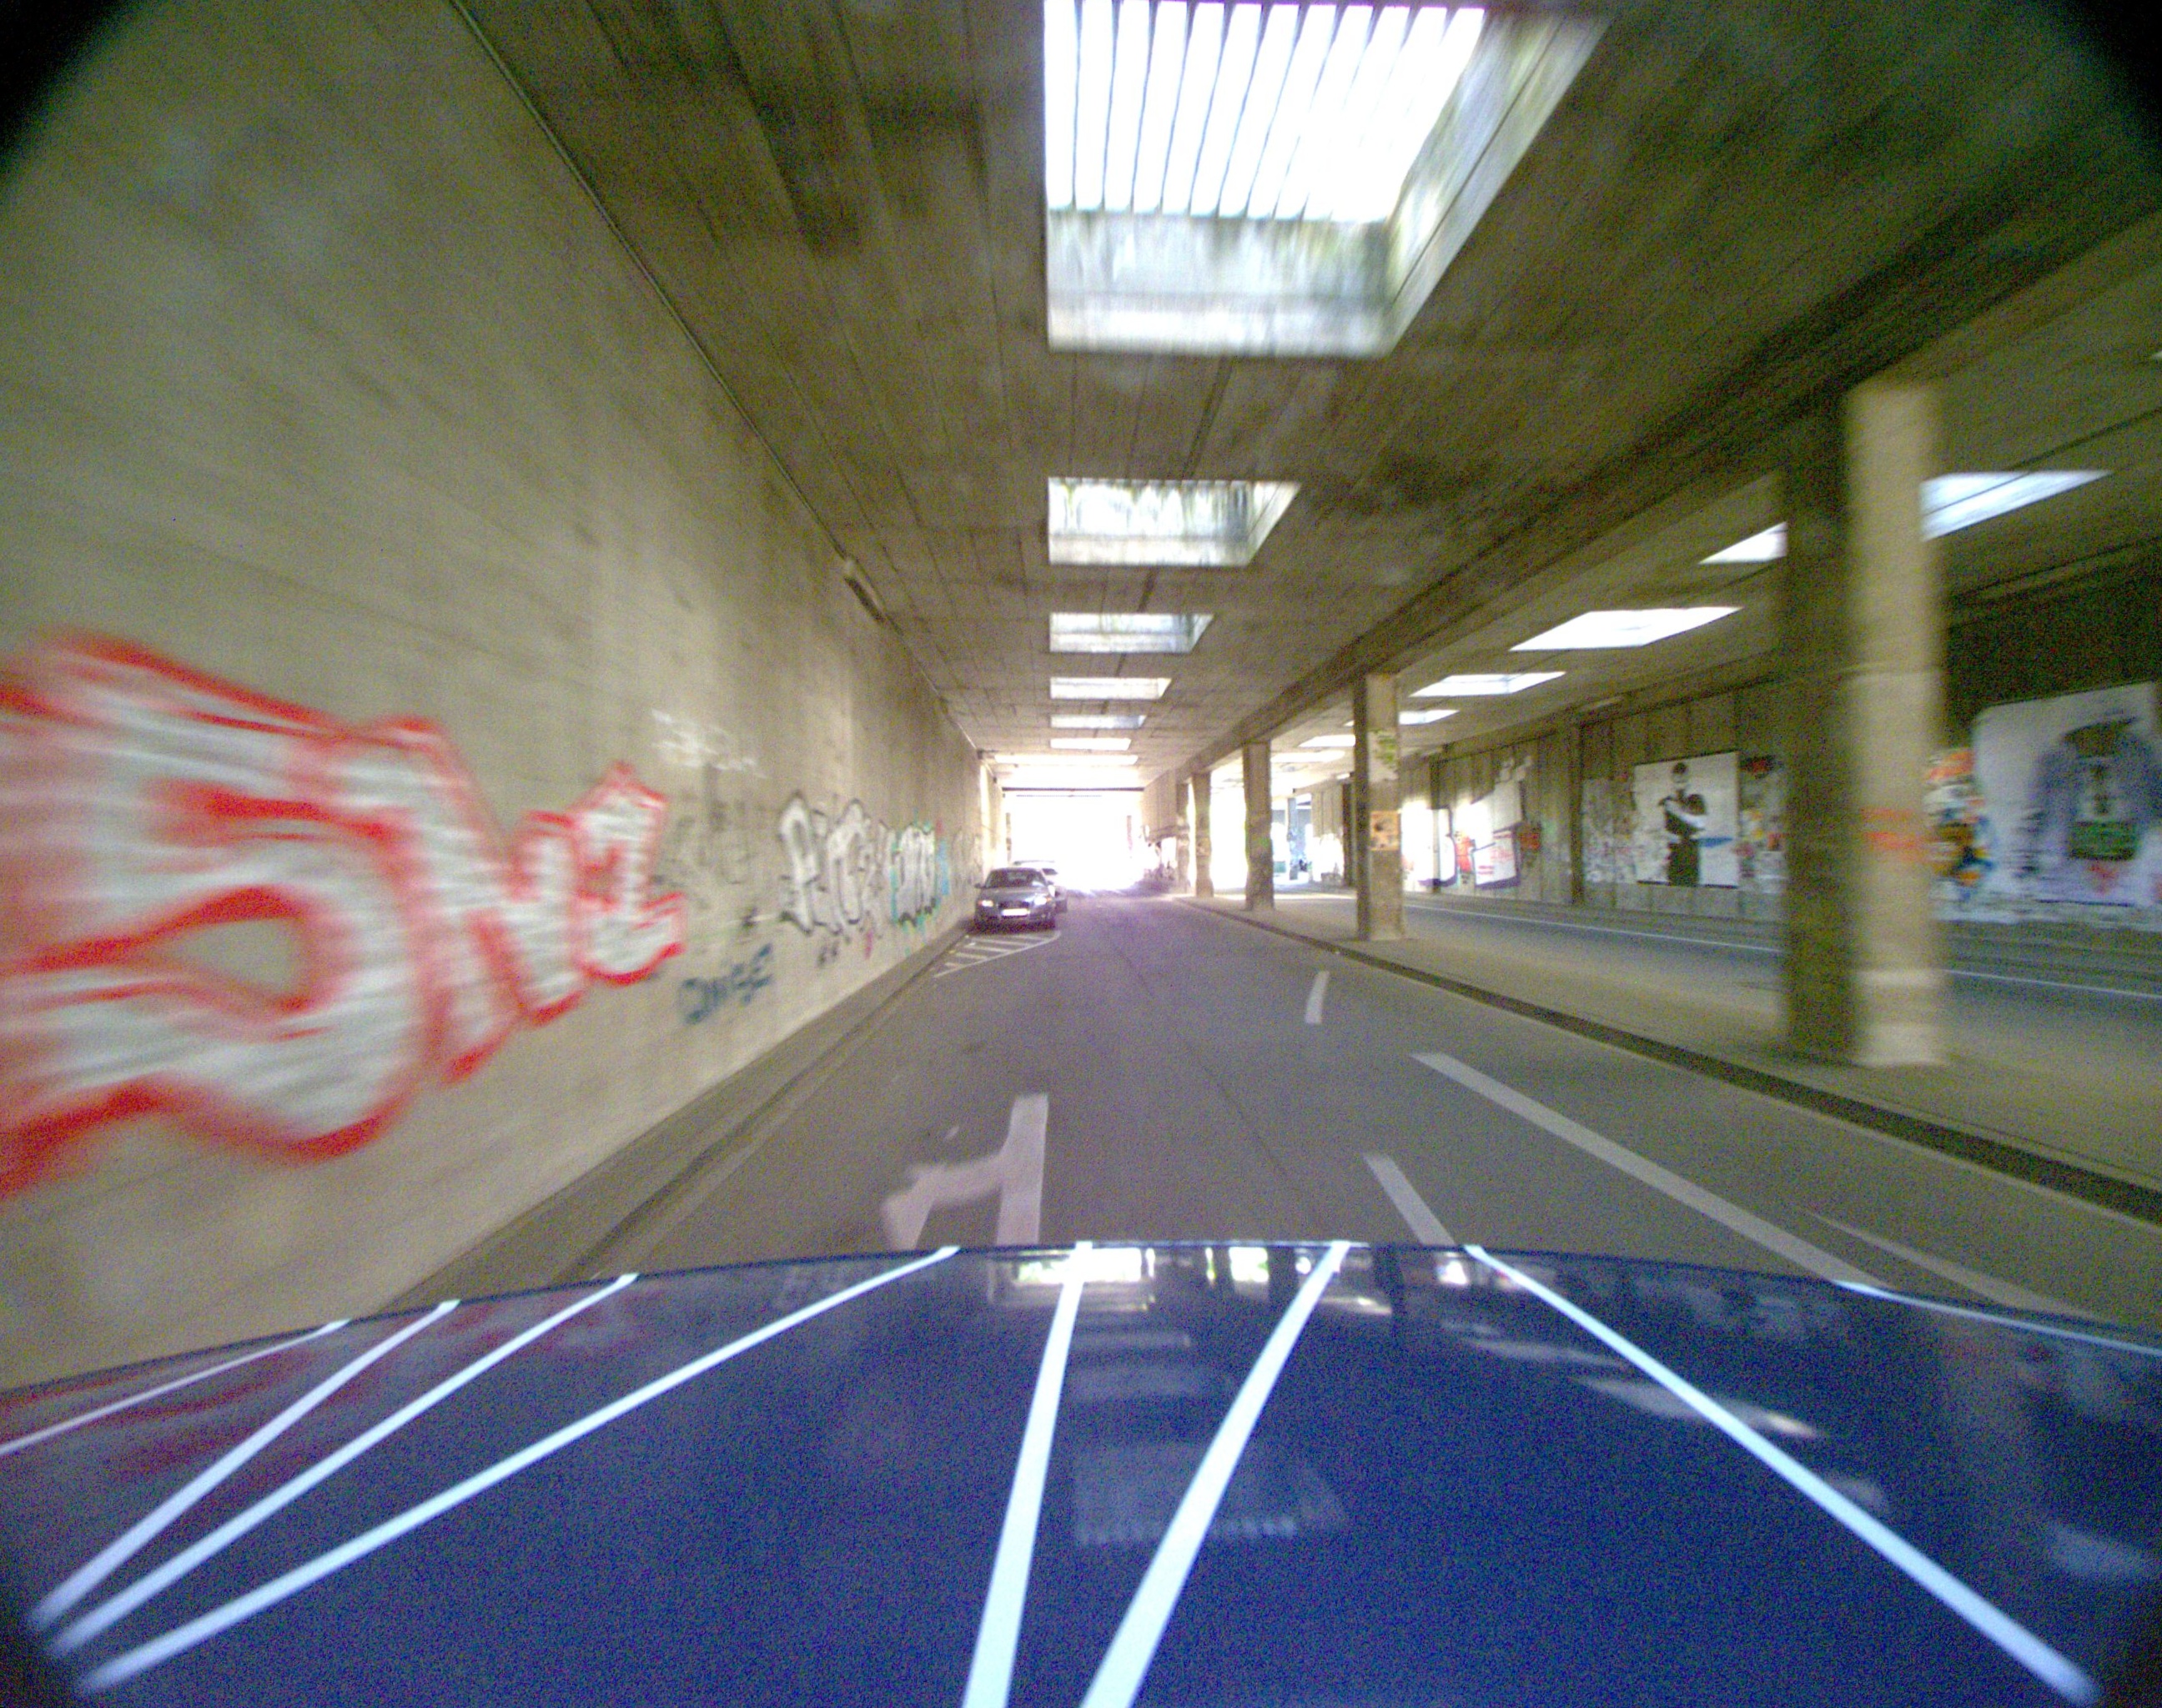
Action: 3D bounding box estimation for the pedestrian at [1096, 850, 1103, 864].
[{"bbox_3d":[2.095,0.376,87.080,0.632,1.567,0.532,-1,1,22],"label":"pedestrian"}]

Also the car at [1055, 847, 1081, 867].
[{"bbox_3d":[-1.761,0.326,97.478,2.221,2.437,5.088,-2,1,-14],"label":"car"}]

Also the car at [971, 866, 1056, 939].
[{"bbox_3d":[-1.503,1.040,17.944,1.706,1.366,4.372,-2,0,-3],"label":"car"}]

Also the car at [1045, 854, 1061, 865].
[{"bbox_3d":[-4.087,0.741,109.355,1.696,1.548,3.818,-2,1,-12],"label":"car"}]

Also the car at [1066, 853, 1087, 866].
[{"bbox_3d":[-0.541,0.670,91.684,1.693,1.454,3.996,-2,1,-12],"label":"car"}]

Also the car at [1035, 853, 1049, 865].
[{"bbox_3d":[-6.361,0.813,124.310,1.778,1.870,3.996,-2,0,-11],"label":"car"}]

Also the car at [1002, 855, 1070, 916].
[{"bbox_3d":[-1.370,0.906,23.720,1.858,1.656,4.370,-2,0,-3],"label":"car"}]
